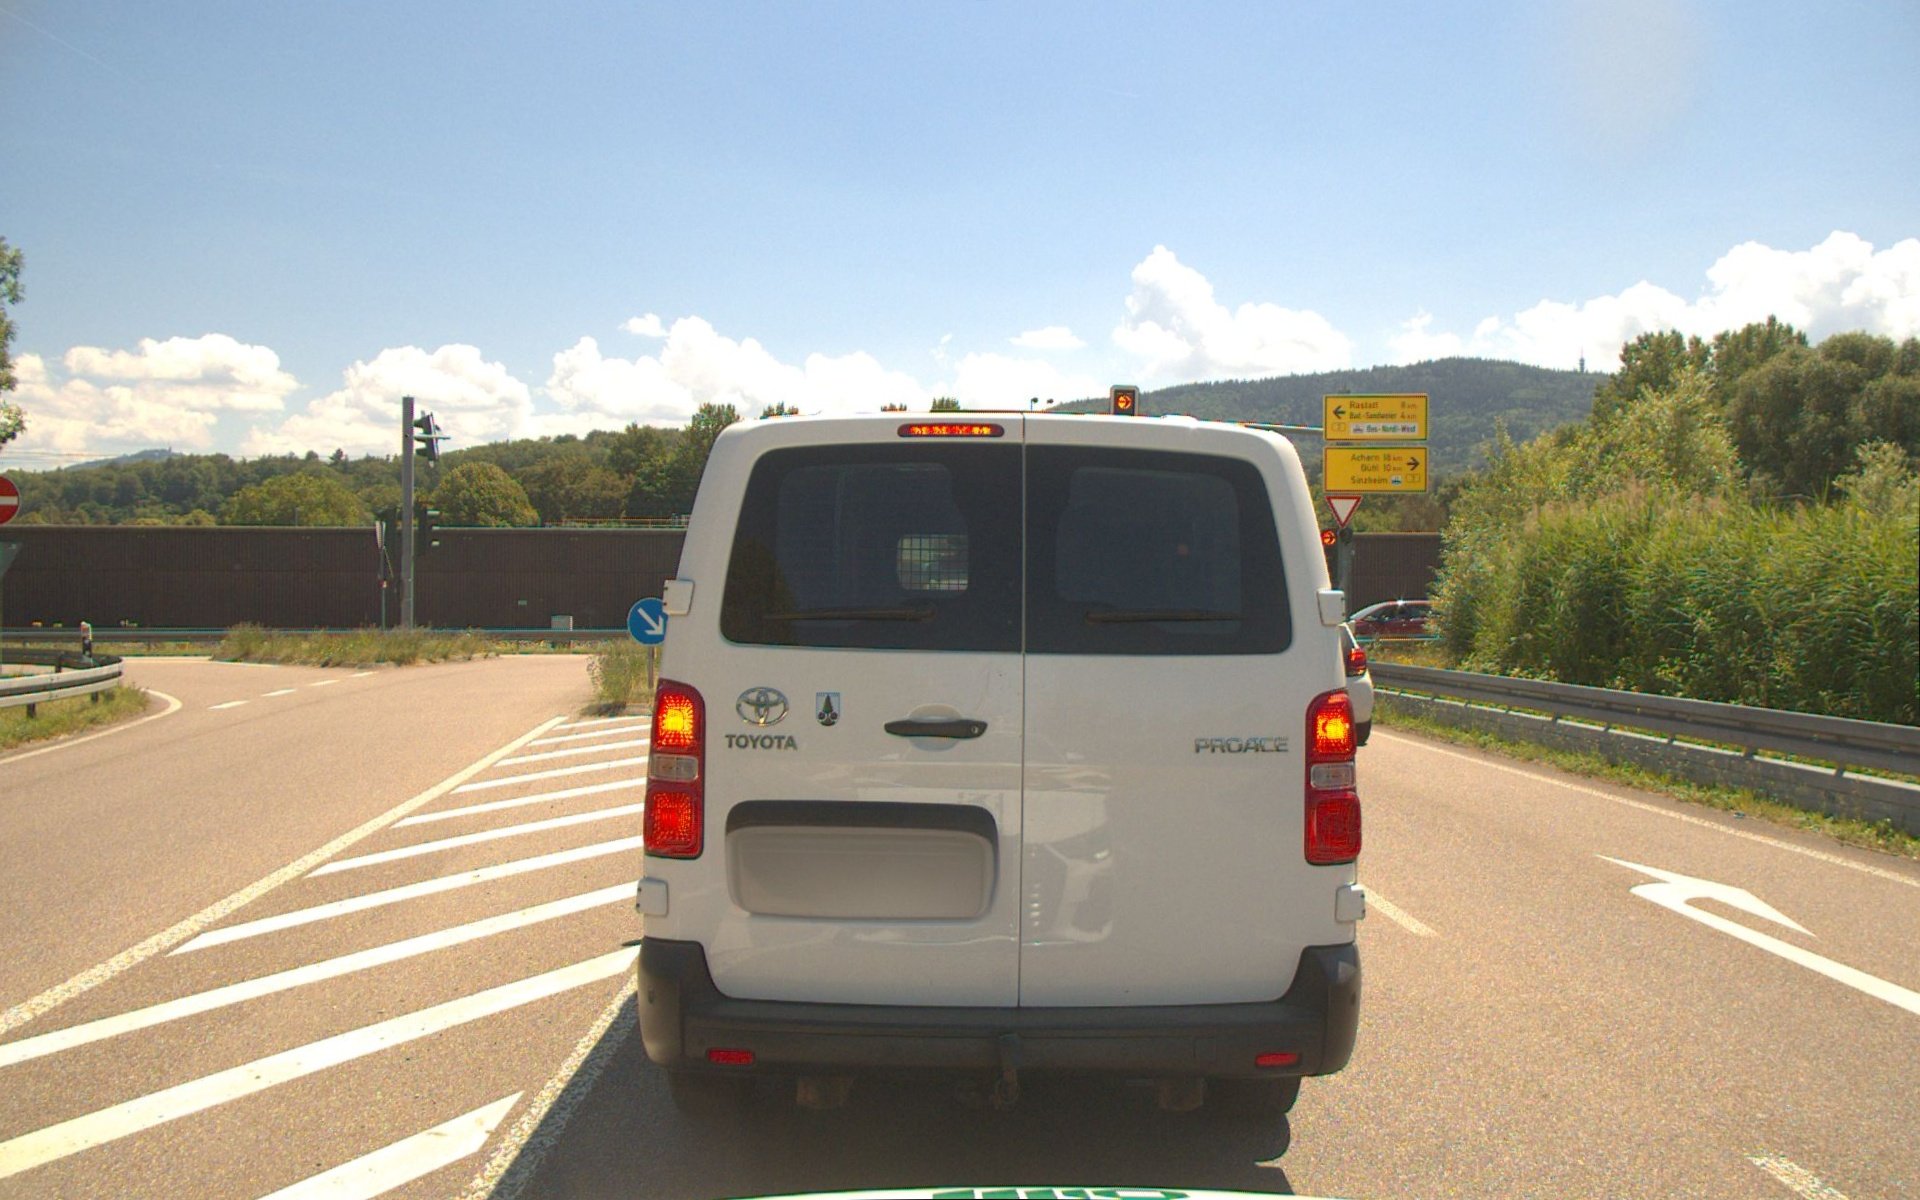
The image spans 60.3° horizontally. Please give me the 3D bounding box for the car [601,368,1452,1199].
[{"bbox_3d":[0.110,0.474,5.629,1.848,1.919,3.999,1,0,-1],"label":"car"}]

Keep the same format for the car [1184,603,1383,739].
[{"bbox_3d":[3.743,0.779,19.659,1.622,1.456,3.364,1,0,-1],"label":"car"}]

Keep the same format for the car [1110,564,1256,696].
[{"bbox_3d":[3.707,0.479,28.273,1.889,2.035,4.838,1,0,1],"label":"car"}]

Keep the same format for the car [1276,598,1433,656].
[{"bbox_3d":[11.885,0.804,50.016,4.225,1.685,1.998,0,0,-4],"label":"car"}]
